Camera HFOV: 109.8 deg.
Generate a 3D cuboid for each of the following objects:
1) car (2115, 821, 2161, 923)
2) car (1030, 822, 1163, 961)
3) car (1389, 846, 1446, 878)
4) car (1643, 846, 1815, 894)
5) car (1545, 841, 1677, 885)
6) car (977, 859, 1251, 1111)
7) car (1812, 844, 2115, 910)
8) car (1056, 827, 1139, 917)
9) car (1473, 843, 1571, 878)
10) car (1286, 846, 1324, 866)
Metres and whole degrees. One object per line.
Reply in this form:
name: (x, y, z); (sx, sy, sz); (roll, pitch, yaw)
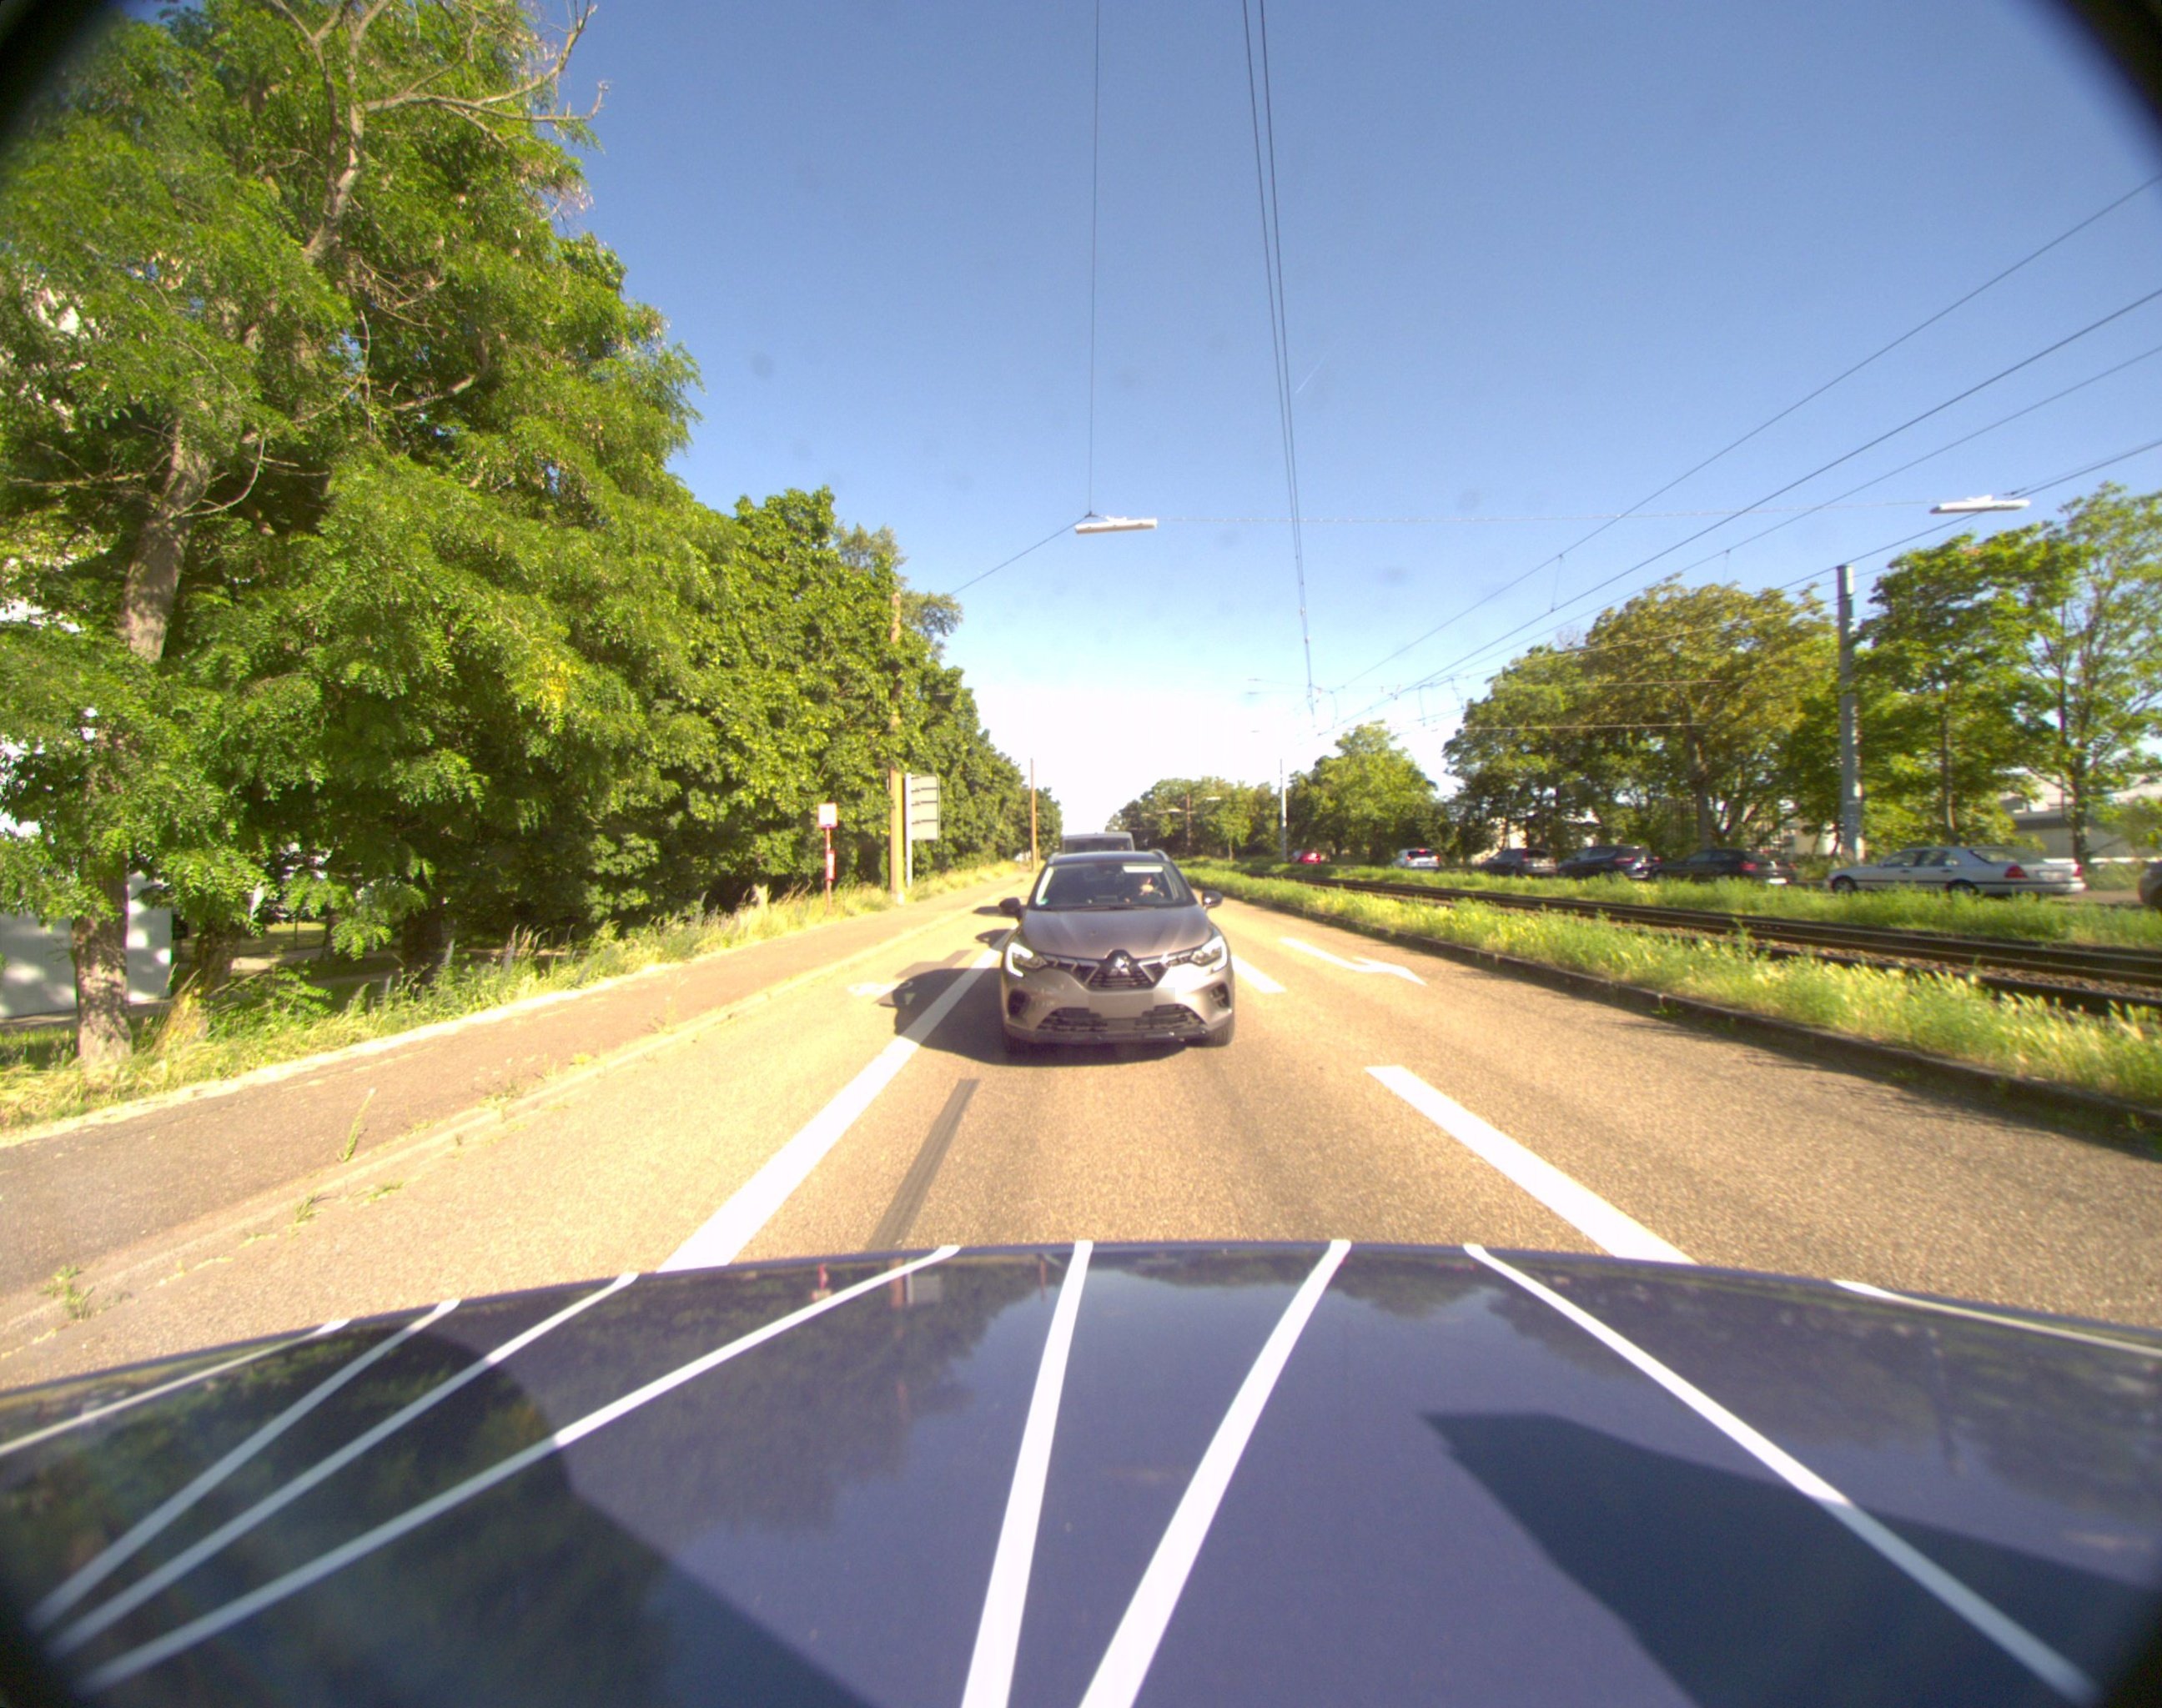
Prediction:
car: (21.237, 0.298, 12.459); (2.207, 1.923, 4.685); (-2, 0, 2)
car: (0.266, 0.591, 13.813); (1.998, 2.113, 4.000); (-2, 0, 1)
car: (17.506, 0.411, 39.721); (1.858, 1.548, 4.160); (-2, 0, 12)
car: (21.347, 0.494, 25.332); (1.960, 1.417, 4.488); (-2, 0, 1)
car: (21.309, 0.347, 30.829); (2.130, 1.578, 4.616); (-2, 0, 1)
car: (0.181, 0.884, 7.323); (1.796, 1.583, 4.529); (-1, 0, -1)
car: (21.547, 0.510, 18.938); (2.130, 1.372, 4.616); (-2, 0, -1)
car: (0.358, 0.478, 21.041); (1.999, 2.198, 4.786); (-1, -1, -1)
car: (21.568, 0.331, 37.411); (2.130, 1.554, 4.560); (-2, 0, 0)
car: (21.007, 0.189, 71.470); (2.321, 1.723, 4.798); (-2, 0, 3)
